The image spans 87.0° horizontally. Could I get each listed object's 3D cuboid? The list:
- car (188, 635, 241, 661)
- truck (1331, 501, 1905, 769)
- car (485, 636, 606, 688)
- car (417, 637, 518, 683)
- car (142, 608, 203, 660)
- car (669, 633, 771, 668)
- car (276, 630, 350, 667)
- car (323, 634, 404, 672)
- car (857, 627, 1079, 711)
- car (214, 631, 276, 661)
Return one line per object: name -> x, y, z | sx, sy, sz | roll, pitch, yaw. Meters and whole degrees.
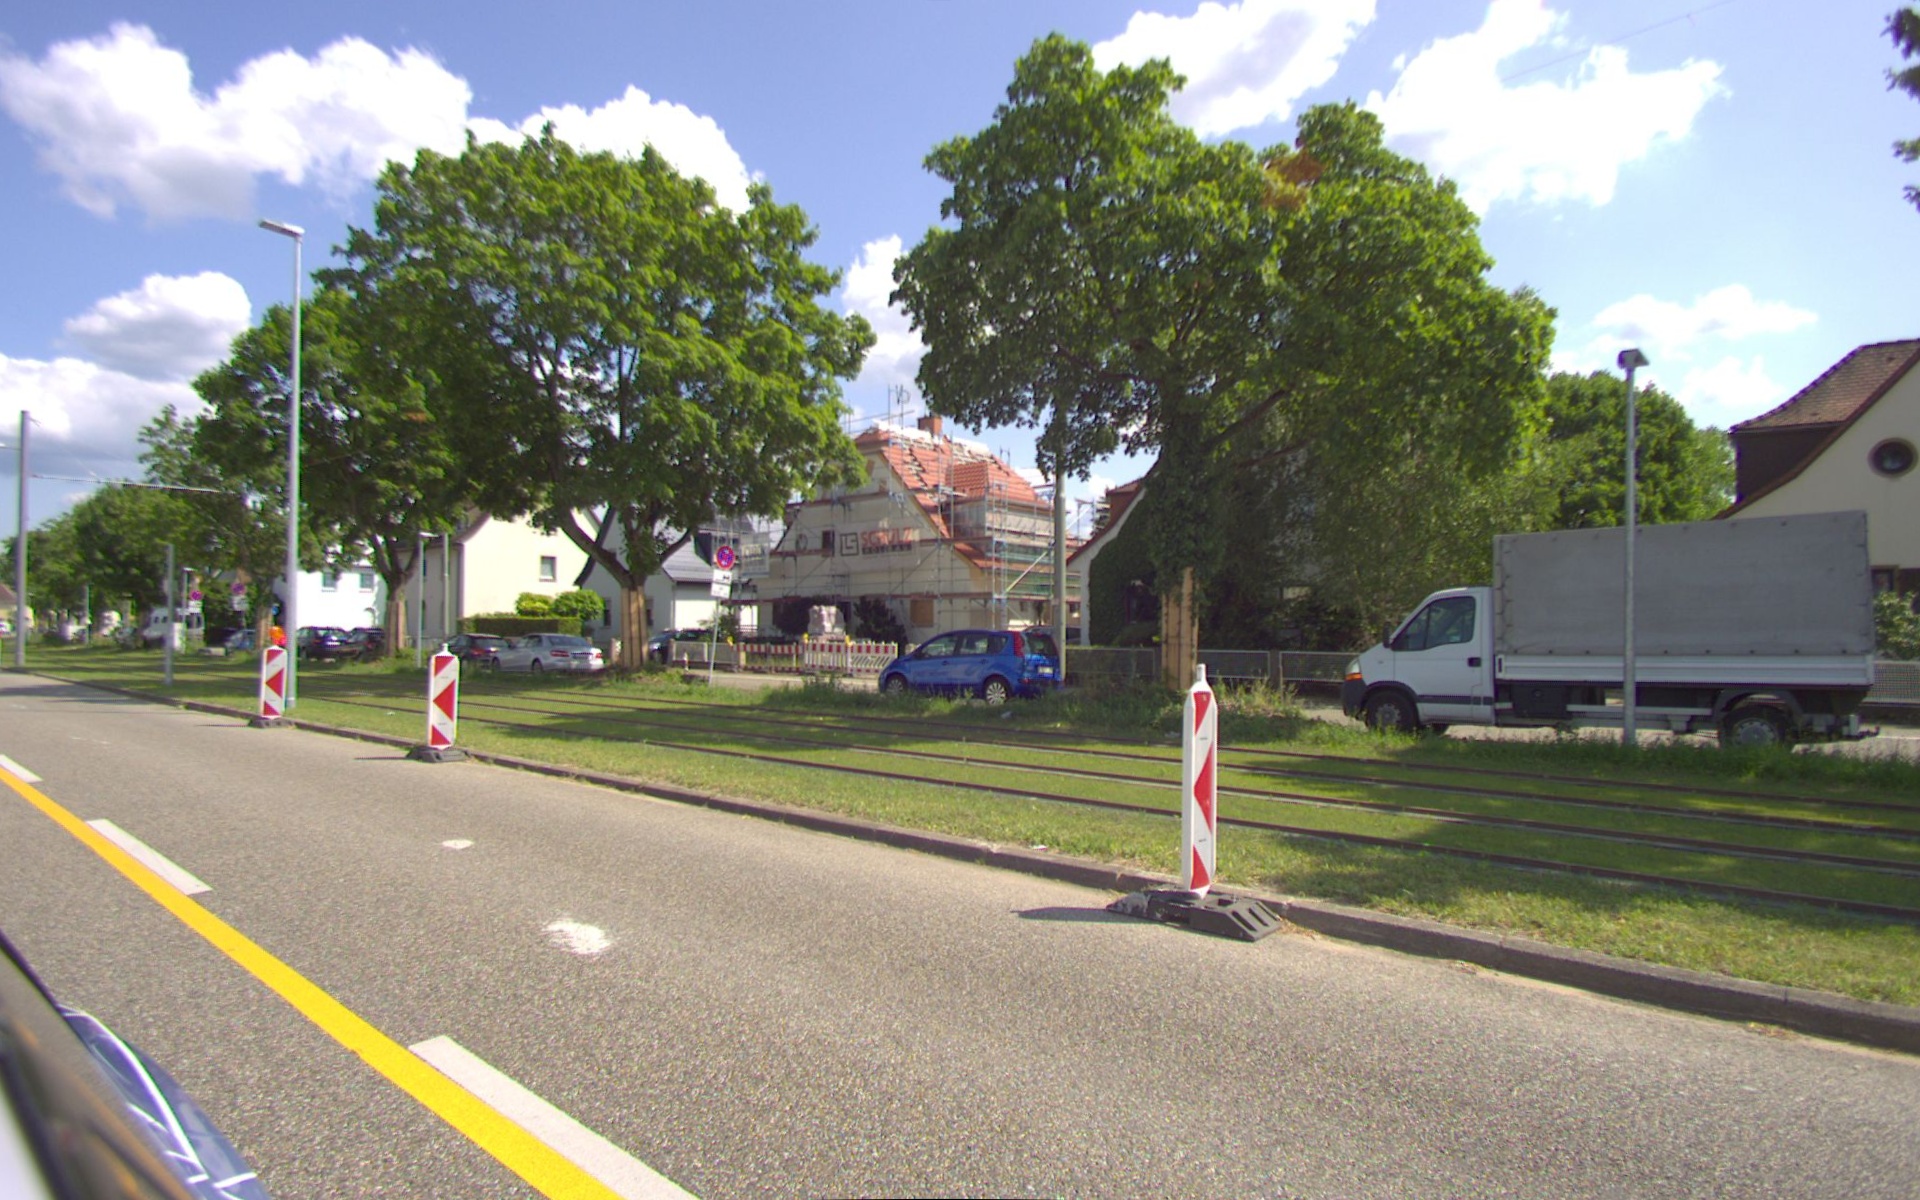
car -> -44.472, 2.876, 60.327 | 4.403, 1.497, 1.680 | -3, -3, 41
truck -> 8.302, 0.455, 13.398 | 5.971, 2.802, 2.242 | -2, -3, 41
car -> -13.104, 1.932, 31.842 | 4.520, 1.497, 1.765 | -4, -3, 42
car -> -17.517, 2.120, 35.890 | 4.403, 1.497, 1.680 | -3, -3, 41
car -> -49.511, 2.162, 63.604 | 5.080, 3.061, 2.108 | -3, -3, 41
car -> -10.922, 2.293, 46.207 | 1.702, 1.497, 4.345 | -3, -3, 41
car -> -29.490, 2.225, 46.071 | 4.403, 1.584, 1.680 | -3, -3, 41
car -> -25.176, 2.254, 42.648 | 4.403, 1.497, 1.680 | -3, -3, 41
car -> 0.069, 1.353, 20.275 | 4.403, 1.497, 1.680 | -3, -3, 41
car -> -37.489, 2.429, 53.047 | 4.403, 1.497, 1.680 | -3, -3, 41
